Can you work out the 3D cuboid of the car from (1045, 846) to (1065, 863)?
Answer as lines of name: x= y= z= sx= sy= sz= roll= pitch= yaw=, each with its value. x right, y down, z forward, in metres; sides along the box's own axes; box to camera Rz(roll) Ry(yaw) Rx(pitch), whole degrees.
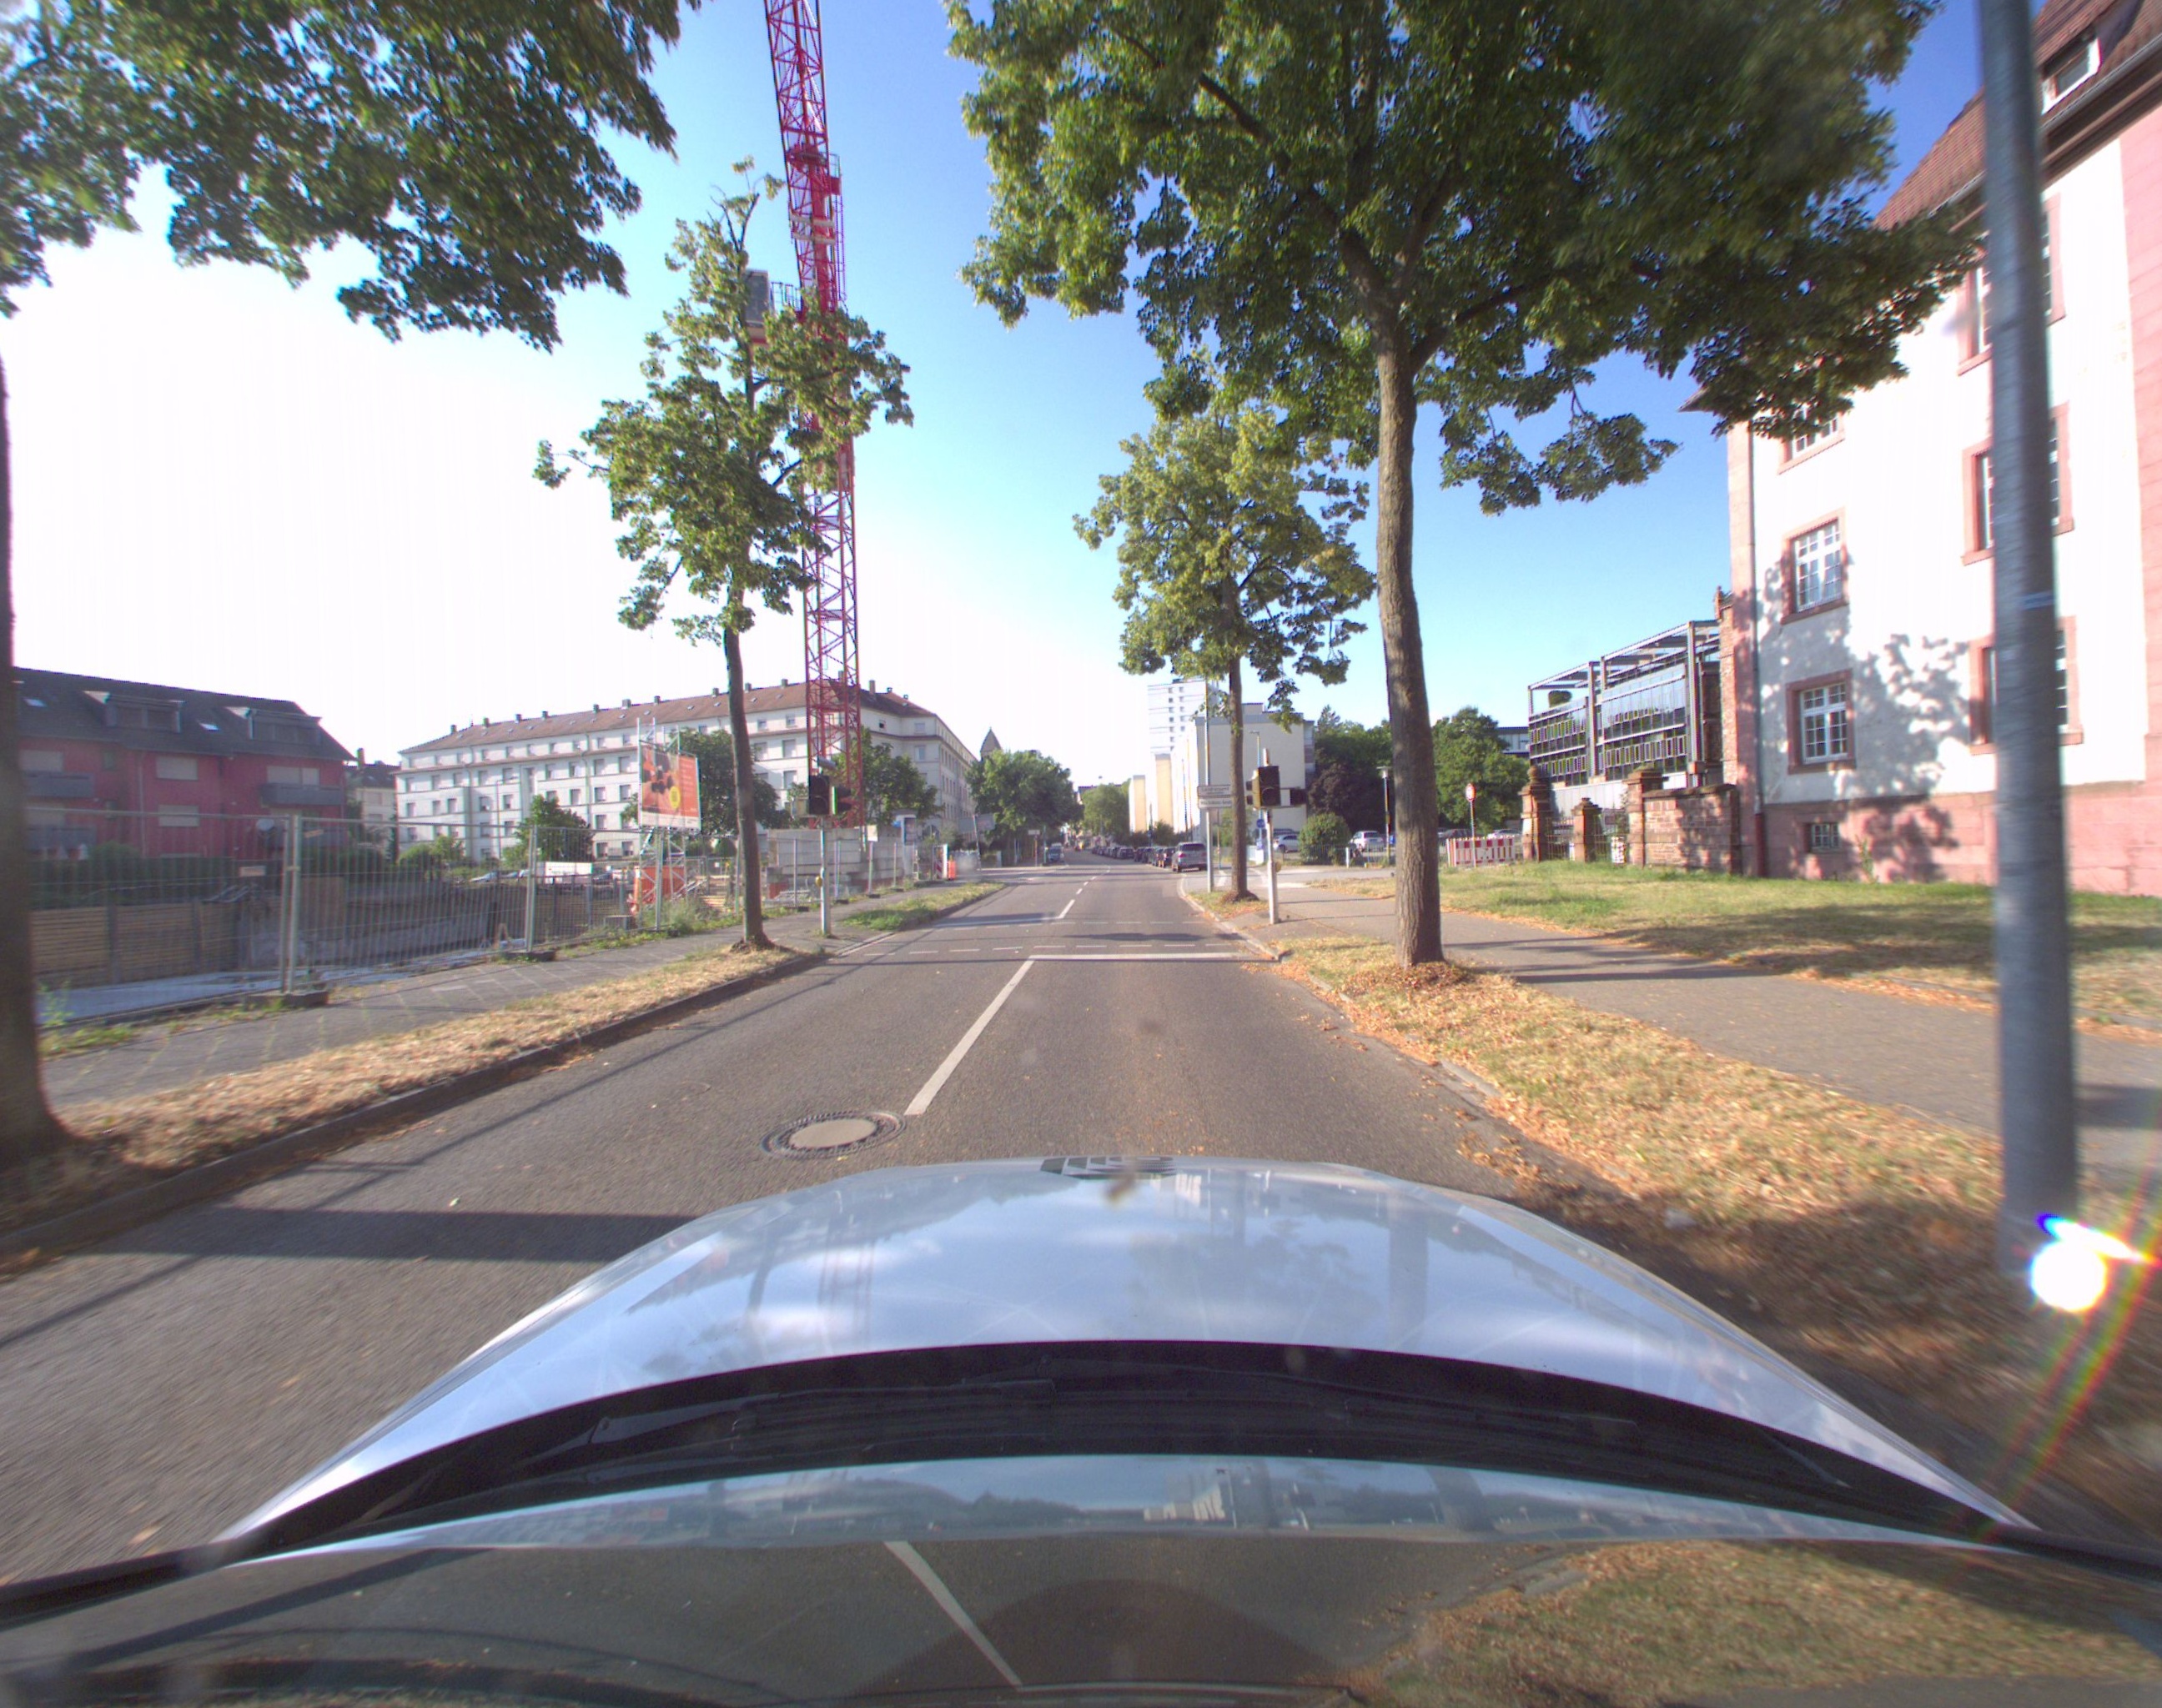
car: x=-2.824 y=0.073 z=88.313 sx=1.989 sy=1.687 sz=3.995 roll=-3 pitch=0 yaw=-3

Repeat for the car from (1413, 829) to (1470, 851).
car: x=30.250 y=-1.187 z=68.391 sx=3.970 sy=1.728 sz=1.774 roll=-1 pitch=0 yaw=3

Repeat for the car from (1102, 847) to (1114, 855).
car: x=4.823 y=-0.497 z=144.448 sx=1.836 sy=1.386 sz=3.998 roll=-3 pitch=0 yaw=-1

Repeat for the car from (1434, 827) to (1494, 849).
car: x=31.000 y=-1.286 z=65.992 sx=3.970 sy=1.728 sz=1.774 roll=-1 pitch=0 yaw=3

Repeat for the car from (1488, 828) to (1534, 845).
car: x=42.293 y=-1.715 z=80.135 sx=3.521 sy=1.545 sz=1.774 roll=-2 pitch=0 yaw=3

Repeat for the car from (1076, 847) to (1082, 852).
car: x=-0.524 y=-1.262 z=226.620 sx=1.709 sy=1.486 sz=3.998 roll=-3 pitch=0 yaw=-1

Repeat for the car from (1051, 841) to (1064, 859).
car: x=-4.461 y=-0.689 z=153.410 sx=2.180 sy=3.130 sz=4.982 roll=-5 pitch=0 yaw=-2

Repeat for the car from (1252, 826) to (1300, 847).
car: x=17.416 y=-1.560 z=72.930 sx=3.970 sy=1.728 sz=1.774 roll=-1 pitch=0 yaw=3

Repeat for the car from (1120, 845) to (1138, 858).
car: x=5.950 y=-0.317 z=100.719 sx=1.836 sy=1.386 sz=3.998 roll=-3 pitch=0 yaw=-1

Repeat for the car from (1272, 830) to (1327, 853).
car: x=17.144 y=-0.974 z=64.045 sx=3.965 sy=1.684 sz=2.004 roll=-1 pitch=-1 yaw=7

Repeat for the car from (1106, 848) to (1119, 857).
car: x=5.172 y=-0.291 z=134.145 sx=1.836 sy=1.386 sz=3.998 roll=-3 pitch=0 yaw=-1

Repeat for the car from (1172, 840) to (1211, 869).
car: x=6.538 y=0.032 z=48.613 sx=1.834 sy=1.574 sz=4.002 roll=-3 pitch=0 yaw=2

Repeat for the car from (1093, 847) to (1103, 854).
car: x=3.674 y=-0.774 z=173.976 sx=1.836 sy=1.386 sz=3.998 roll=-3 pitch=0 yaw=-1

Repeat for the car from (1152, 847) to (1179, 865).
car: x=6.719 y=0.155 z=64.965 sx=1.834 sy=1.261 sz=4.002 roll=-3 pitch=0 yaw=2

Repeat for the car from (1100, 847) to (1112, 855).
car: x=4.592 y=-0.540 z=150.895 sx=1.836 sy=1.386 sz=3.998 roll=-3 pitch=0 yaw=-1

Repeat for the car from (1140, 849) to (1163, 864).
car: x=6.567 y=0.251 z=75.940 sx=1.834 sy=1.261 sz=4.002 roll=-3 pitch=0 yaw=2

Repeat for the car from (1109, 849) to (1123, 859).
car: x=5.307 y=-0.035 z=123.844 sx=1.836 sy=1.386 sz=3.998 roll=-3 pitch=0 yaw=-1

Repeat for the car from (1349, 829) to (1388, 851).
car: x=21.199 y=-1.009 z=60.178 sx=1.804 sy=1.559 sz=3.630 roll=-1 pitch=-1 yaw=4

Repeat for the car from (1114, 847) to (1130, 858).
car: x=5.582 y=-0.181 z=111.465 sx=1.836 sy=1.386 sz=3.998 roll=-3 pitch=0 yaw=-1

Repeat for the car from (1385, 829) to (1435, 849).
car: x=30.693 y=-1.399 z=76.098 sx=3.970 sy=1.728 sz=1.774 roll=-1 pitch=0 yaw=3

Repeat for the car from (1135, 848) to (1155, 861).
car: x=6.421 y=0.036 z=82.277 sx=1.834 sy=1.261 sz=4.002 roll=-3 pitch=0 yaw=2

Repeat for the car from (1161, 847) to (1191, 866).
car: x=6.925 y=0.144 z=59.698 sx=1.772 sy=1.227 sz=4.002 roll=-3 pitch=0 yaw=2
